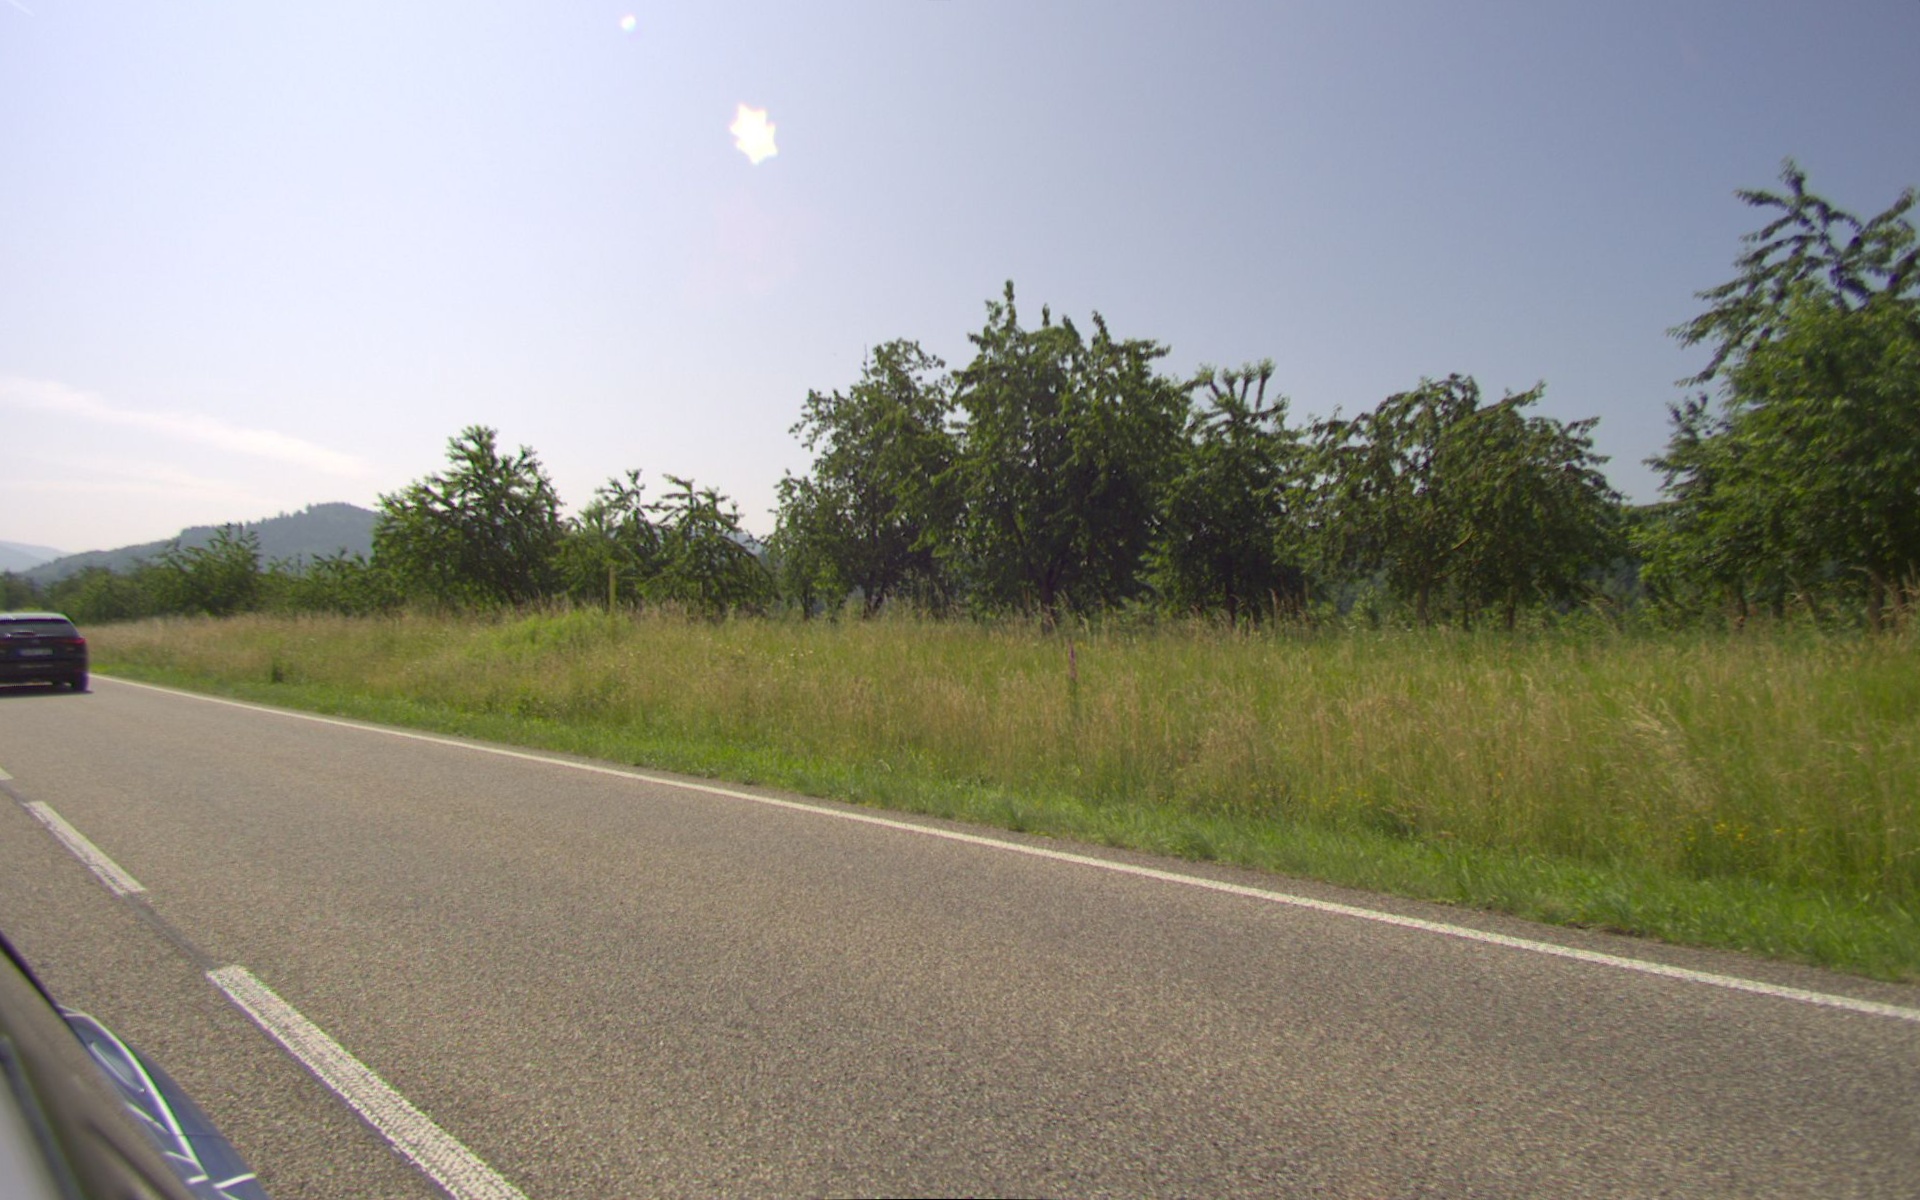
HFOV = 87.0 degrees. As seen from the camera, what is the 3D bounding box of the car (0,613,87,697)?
[{"bbox_3d":[-20.643,1.147,22.164,4.410,1.690,1.816,-2,-2,43],"label":"car"}]
